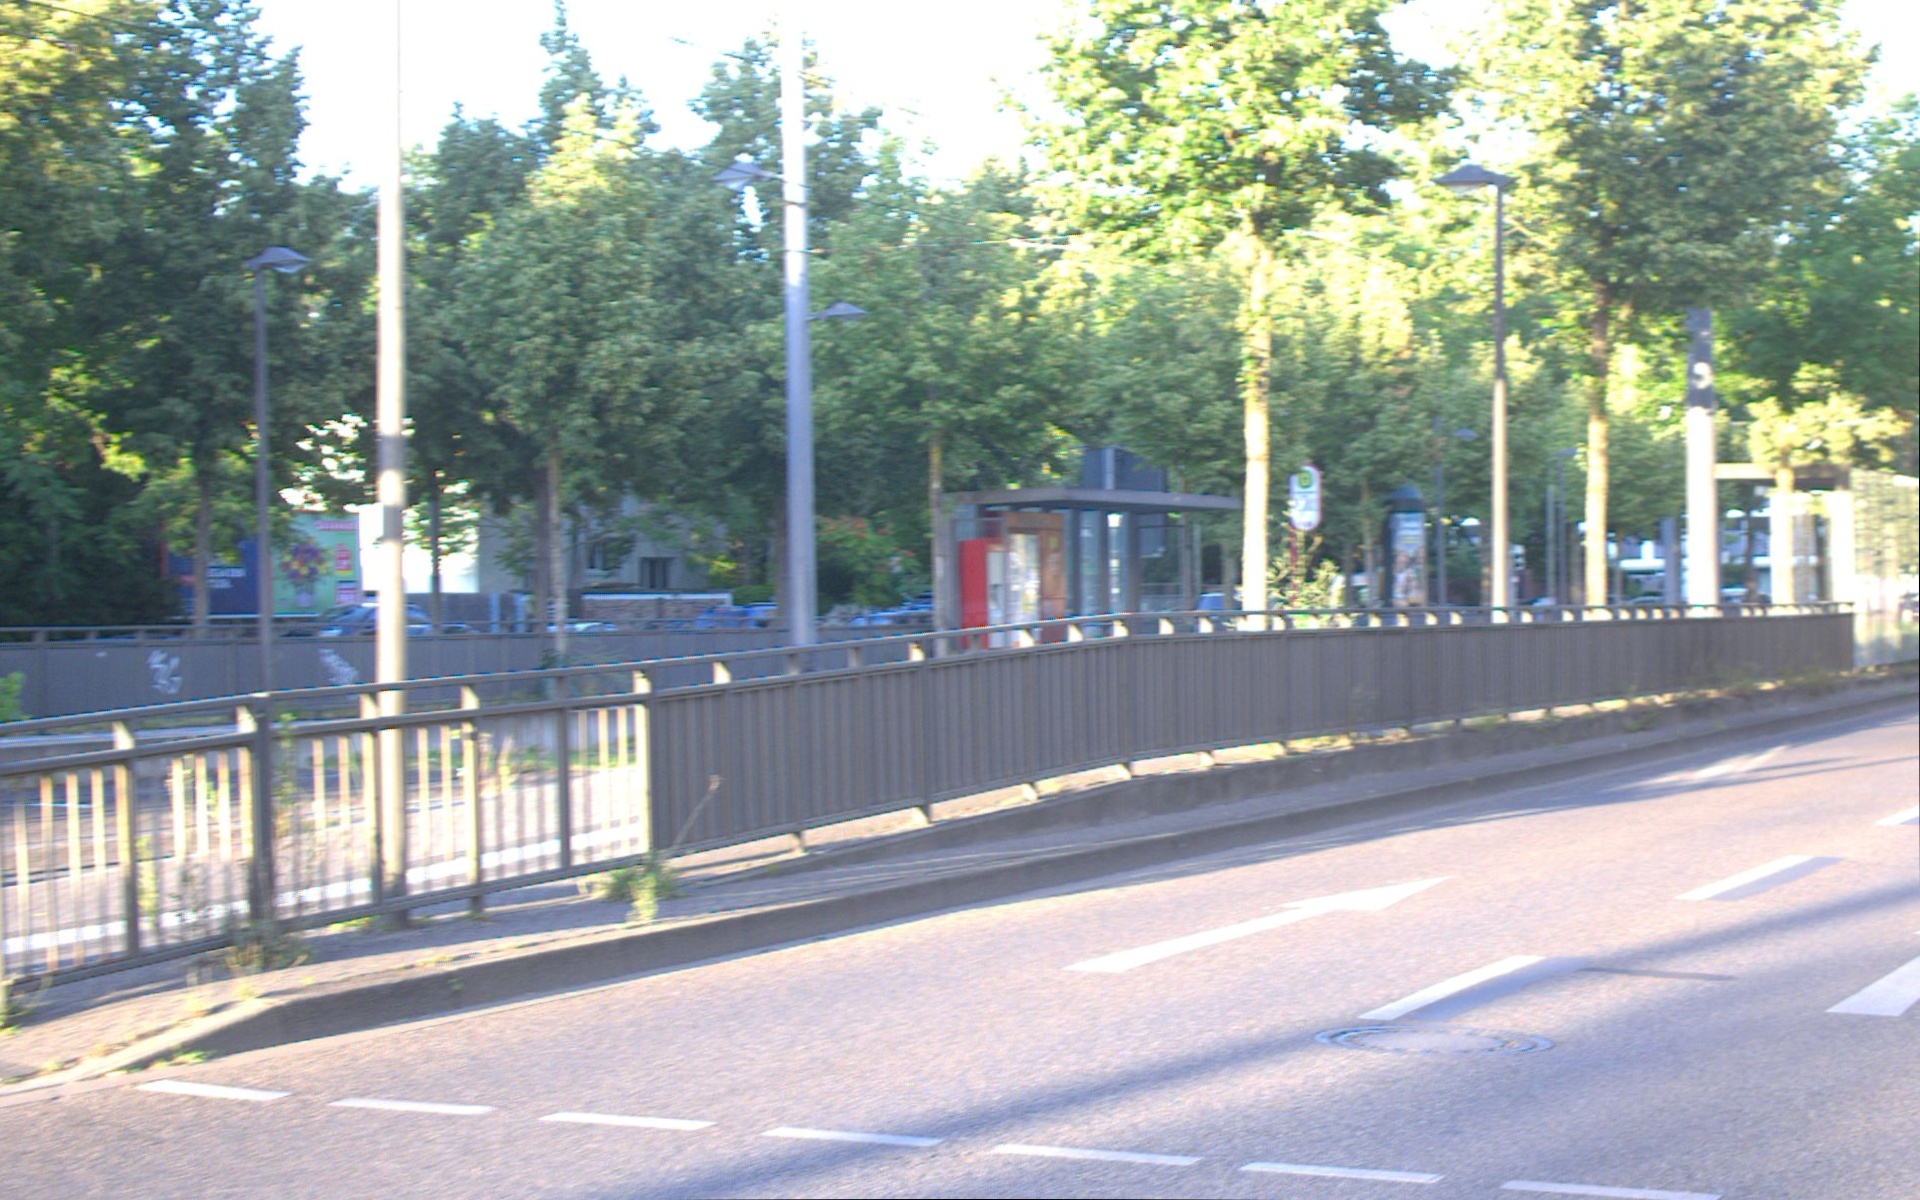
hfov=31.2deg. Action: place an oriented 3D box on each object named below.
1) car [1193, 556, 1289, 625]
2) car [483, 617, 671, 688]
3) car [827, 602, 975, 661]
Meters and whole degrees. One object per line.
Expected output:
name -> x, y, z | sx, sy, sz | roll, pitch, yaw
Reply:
car -> 9.007, -0.306, 109.966 | 1.777, 2.177, 3.995 | 0, 0, 25
car -> -8.303, 1.126, 74.784 | 1.996, 1.460, 4.237 | -1, 0, 28
car -> -1.506, 0.791, 88.861 | 1.996, 1.460, 4.237 | -1, 0, 28
